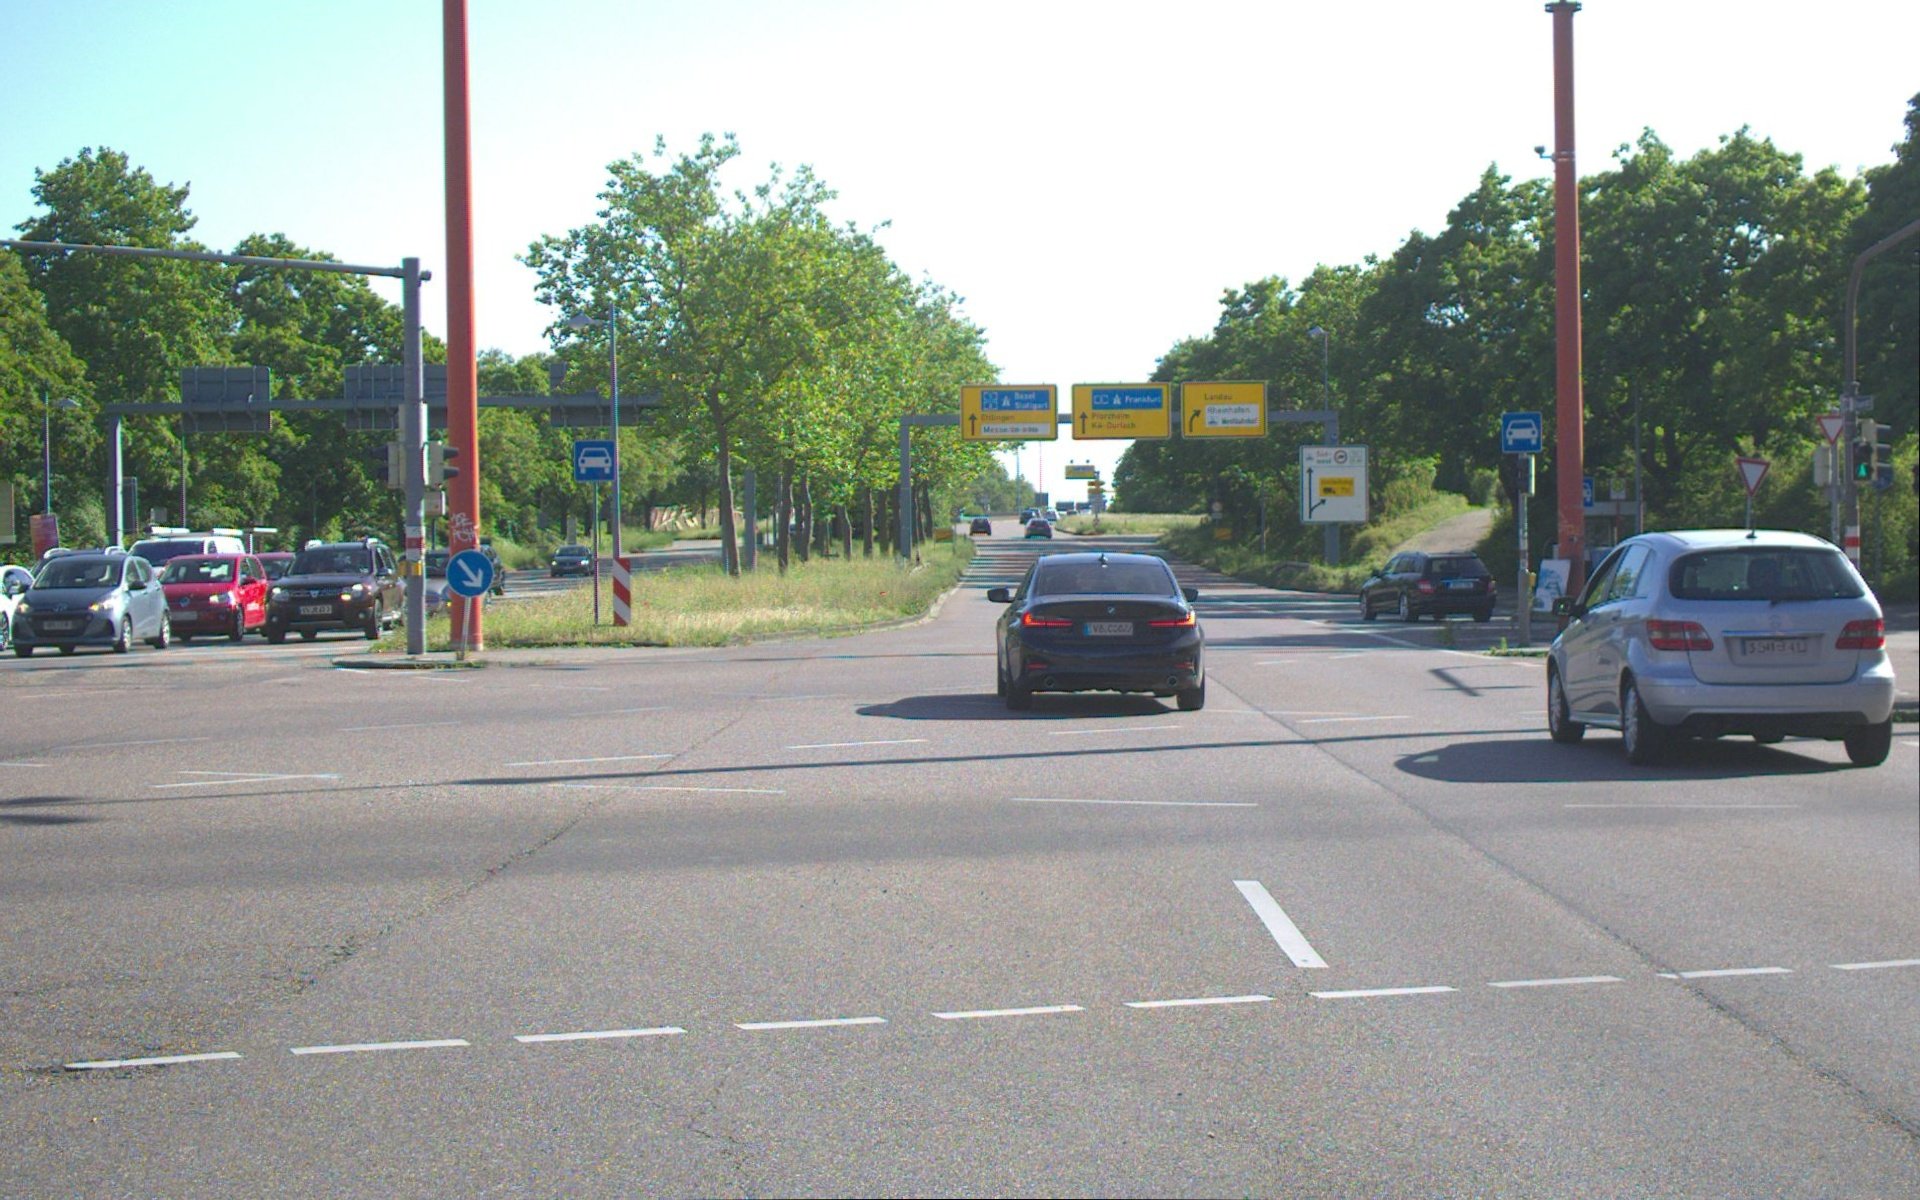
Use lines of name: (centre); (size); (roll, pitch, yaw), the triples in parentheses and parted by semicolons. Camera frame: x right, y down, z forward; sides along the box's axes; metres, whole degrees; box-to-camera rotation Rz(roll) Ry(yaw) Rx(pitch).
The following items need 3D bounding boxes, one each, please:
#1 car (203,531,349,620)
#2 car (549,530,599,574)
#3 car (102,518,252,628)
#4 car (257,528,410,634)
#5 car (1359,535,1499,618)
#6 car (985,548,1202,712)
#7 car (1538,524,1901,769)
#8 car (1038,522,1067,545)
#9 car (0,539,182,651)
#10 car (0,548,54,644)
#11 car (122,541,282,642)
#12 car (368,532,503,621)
car: (-12.816, -0.468, 64.631); (1.901, 1.624, 4.000); (0, 1, 1)
car: (-18.156, -2.275, 161.884); (1.920, 1.992, 4.604); (0, 1, -1)
car: (-16.079, -0.583, 70.835); (1.961, 2.147, 5.082); (-1, 1, -1)
car: (-10.223, -0.341, 56.372); (1.793, 1.620, 4.144); (-2, 1, -1)
car: (9.526, -0.487, 70.111); (1.763, 1.630, 4.299); (1, 1, -7)
car: (1.203, 0.246, 32.722); (1.764, 1.436, 4.295); (1, 1, -2)
car: (5.360, 0.292, 24.720); (1.716, 1.602, 3.847); (1, 1, 0)
car: (7.031, -5.066, 261.921); (1.993, 1.727, 4.000); (1, 1, -1)
car: (-13.229, -0.112, 52.296); (1.874, 1.545, 4.028); (-2, 1, -1)
car: (-16.543, -0.064, 57.287); (1.901, 1.549, 4.000); (-1, 1, -2)
car: (-12.877, -0.172, 58.635); (1.875, 1.547, 4.000); (-3, 1, -2)
car: (-9.700, -0.458, 63.851); (1.885, 1.538, 4.000); (-2, 1, -1)
